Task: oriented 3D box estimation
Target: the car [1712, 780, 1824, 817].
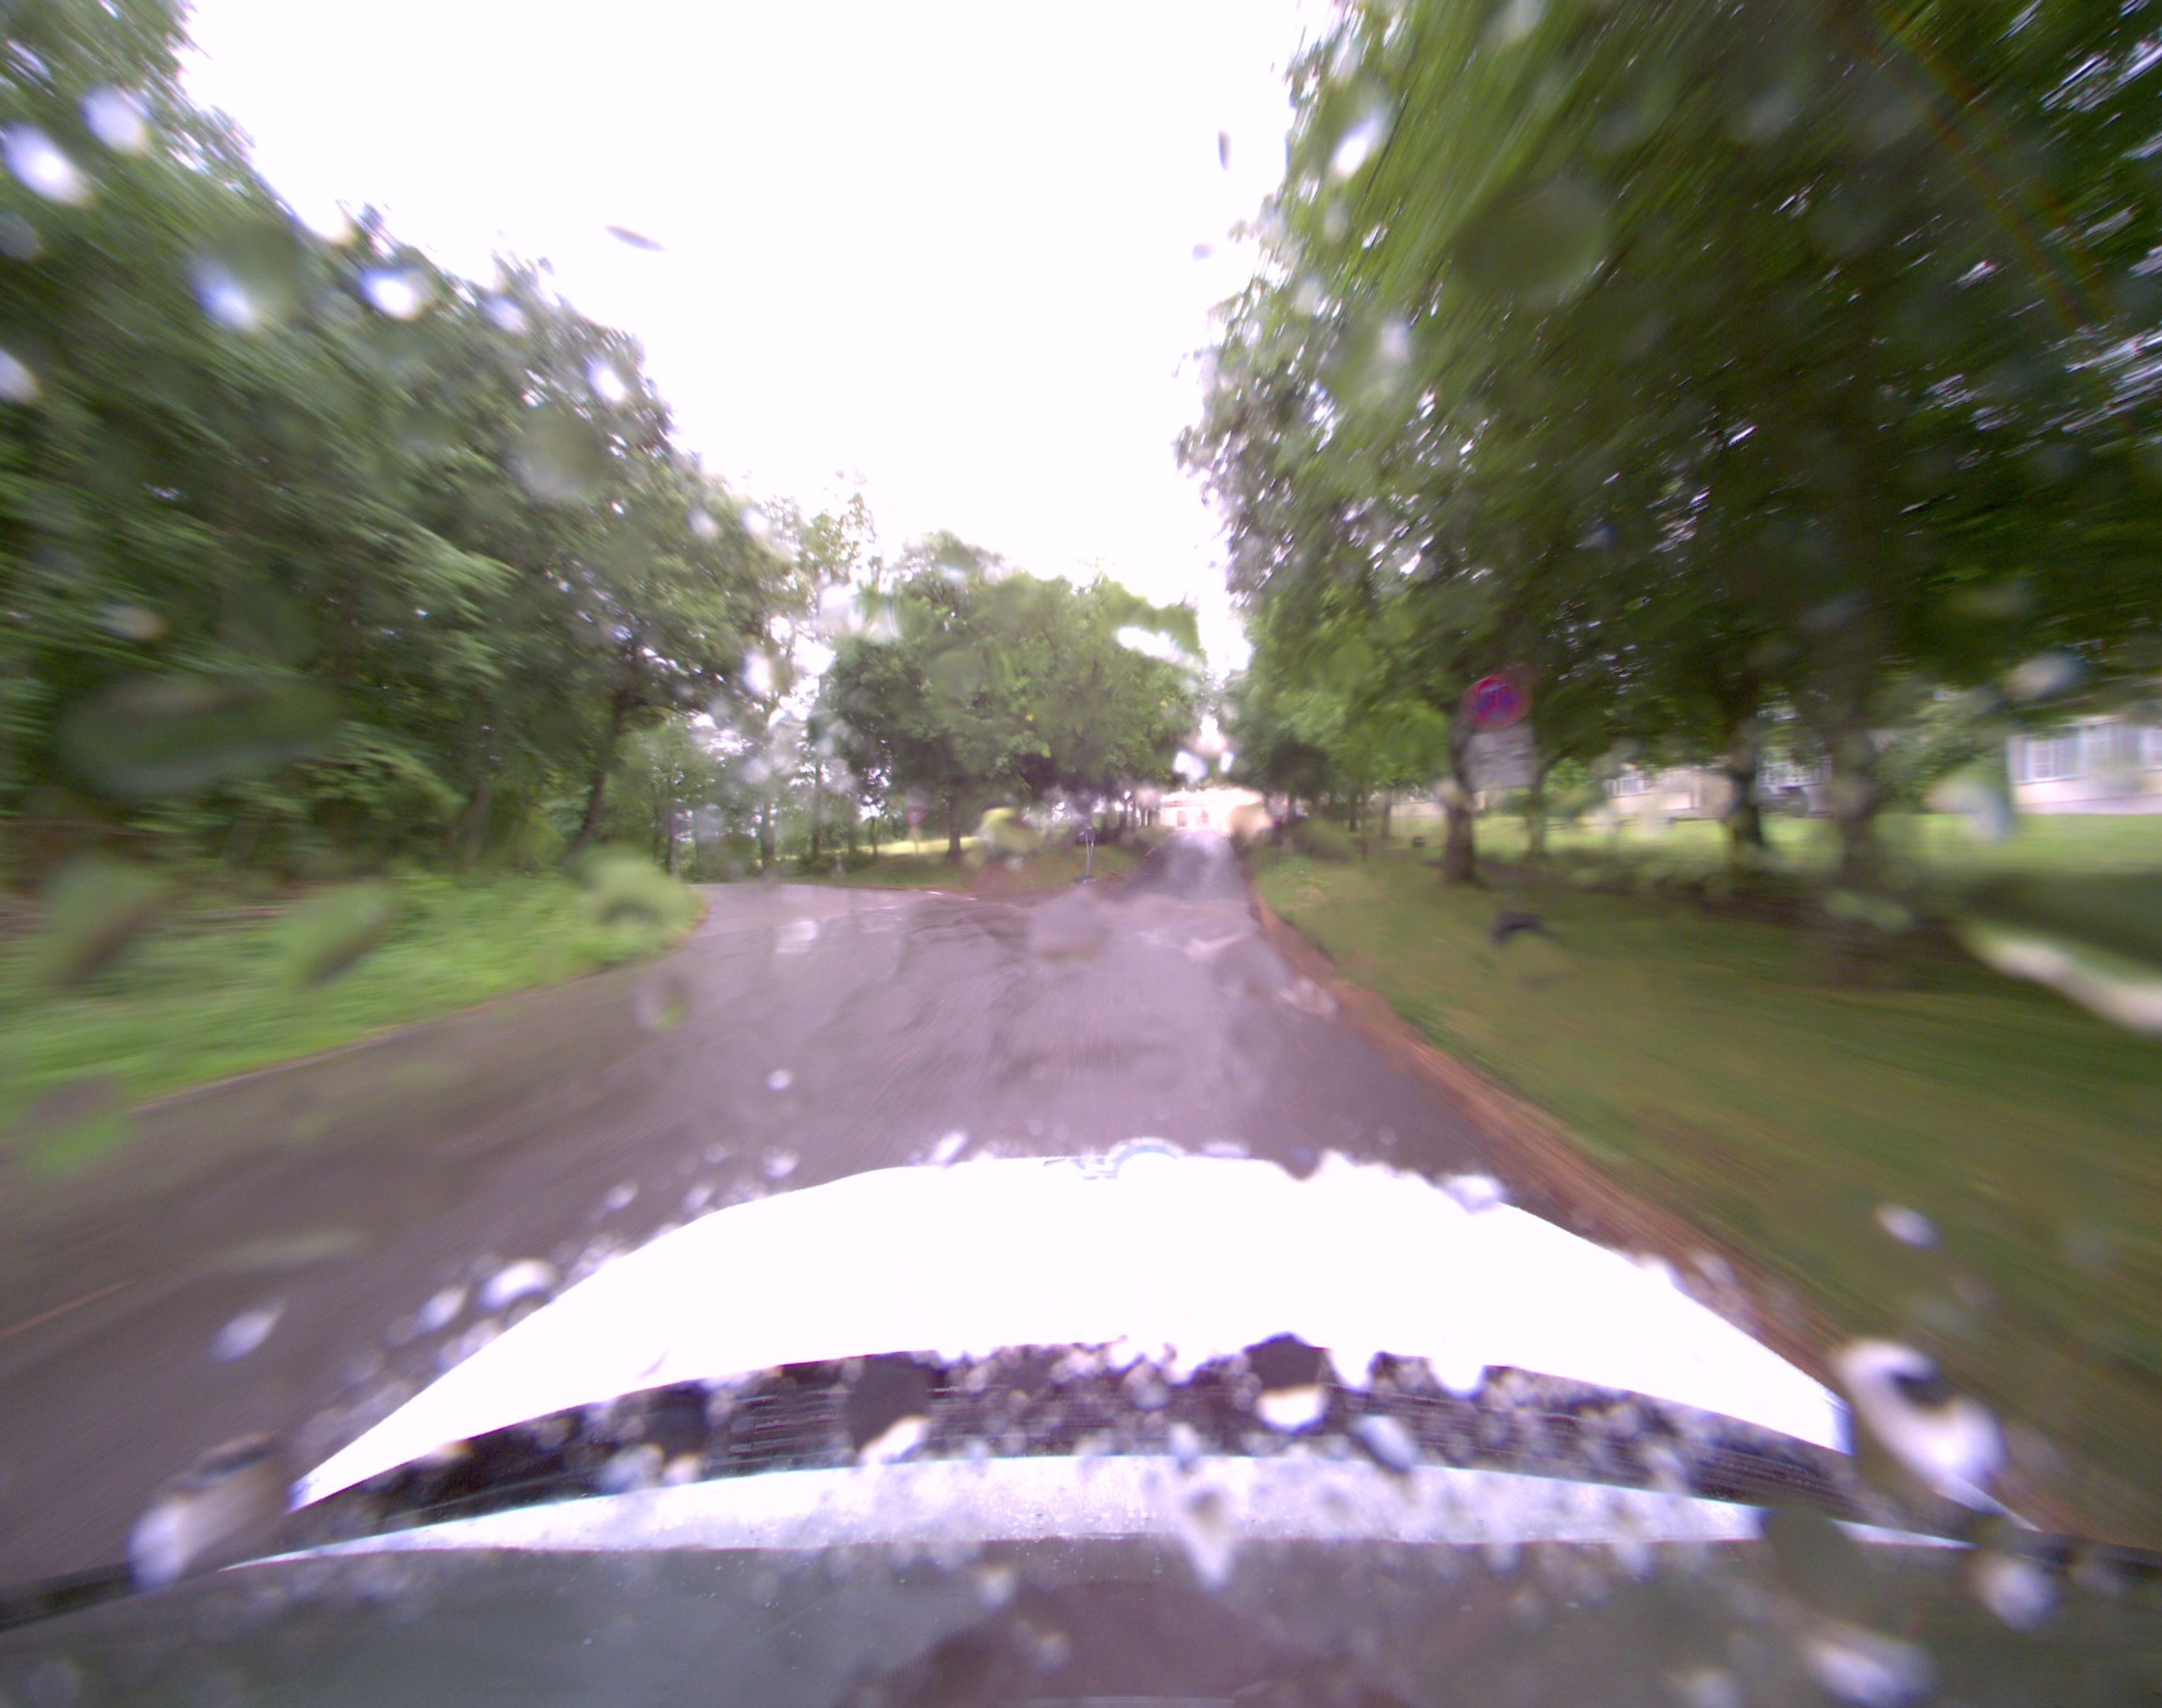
[{"bbox_3d":[35.100,-2.781,41.793,1.986,1.508,4.510,-5,1,2],"label":"car"}]
